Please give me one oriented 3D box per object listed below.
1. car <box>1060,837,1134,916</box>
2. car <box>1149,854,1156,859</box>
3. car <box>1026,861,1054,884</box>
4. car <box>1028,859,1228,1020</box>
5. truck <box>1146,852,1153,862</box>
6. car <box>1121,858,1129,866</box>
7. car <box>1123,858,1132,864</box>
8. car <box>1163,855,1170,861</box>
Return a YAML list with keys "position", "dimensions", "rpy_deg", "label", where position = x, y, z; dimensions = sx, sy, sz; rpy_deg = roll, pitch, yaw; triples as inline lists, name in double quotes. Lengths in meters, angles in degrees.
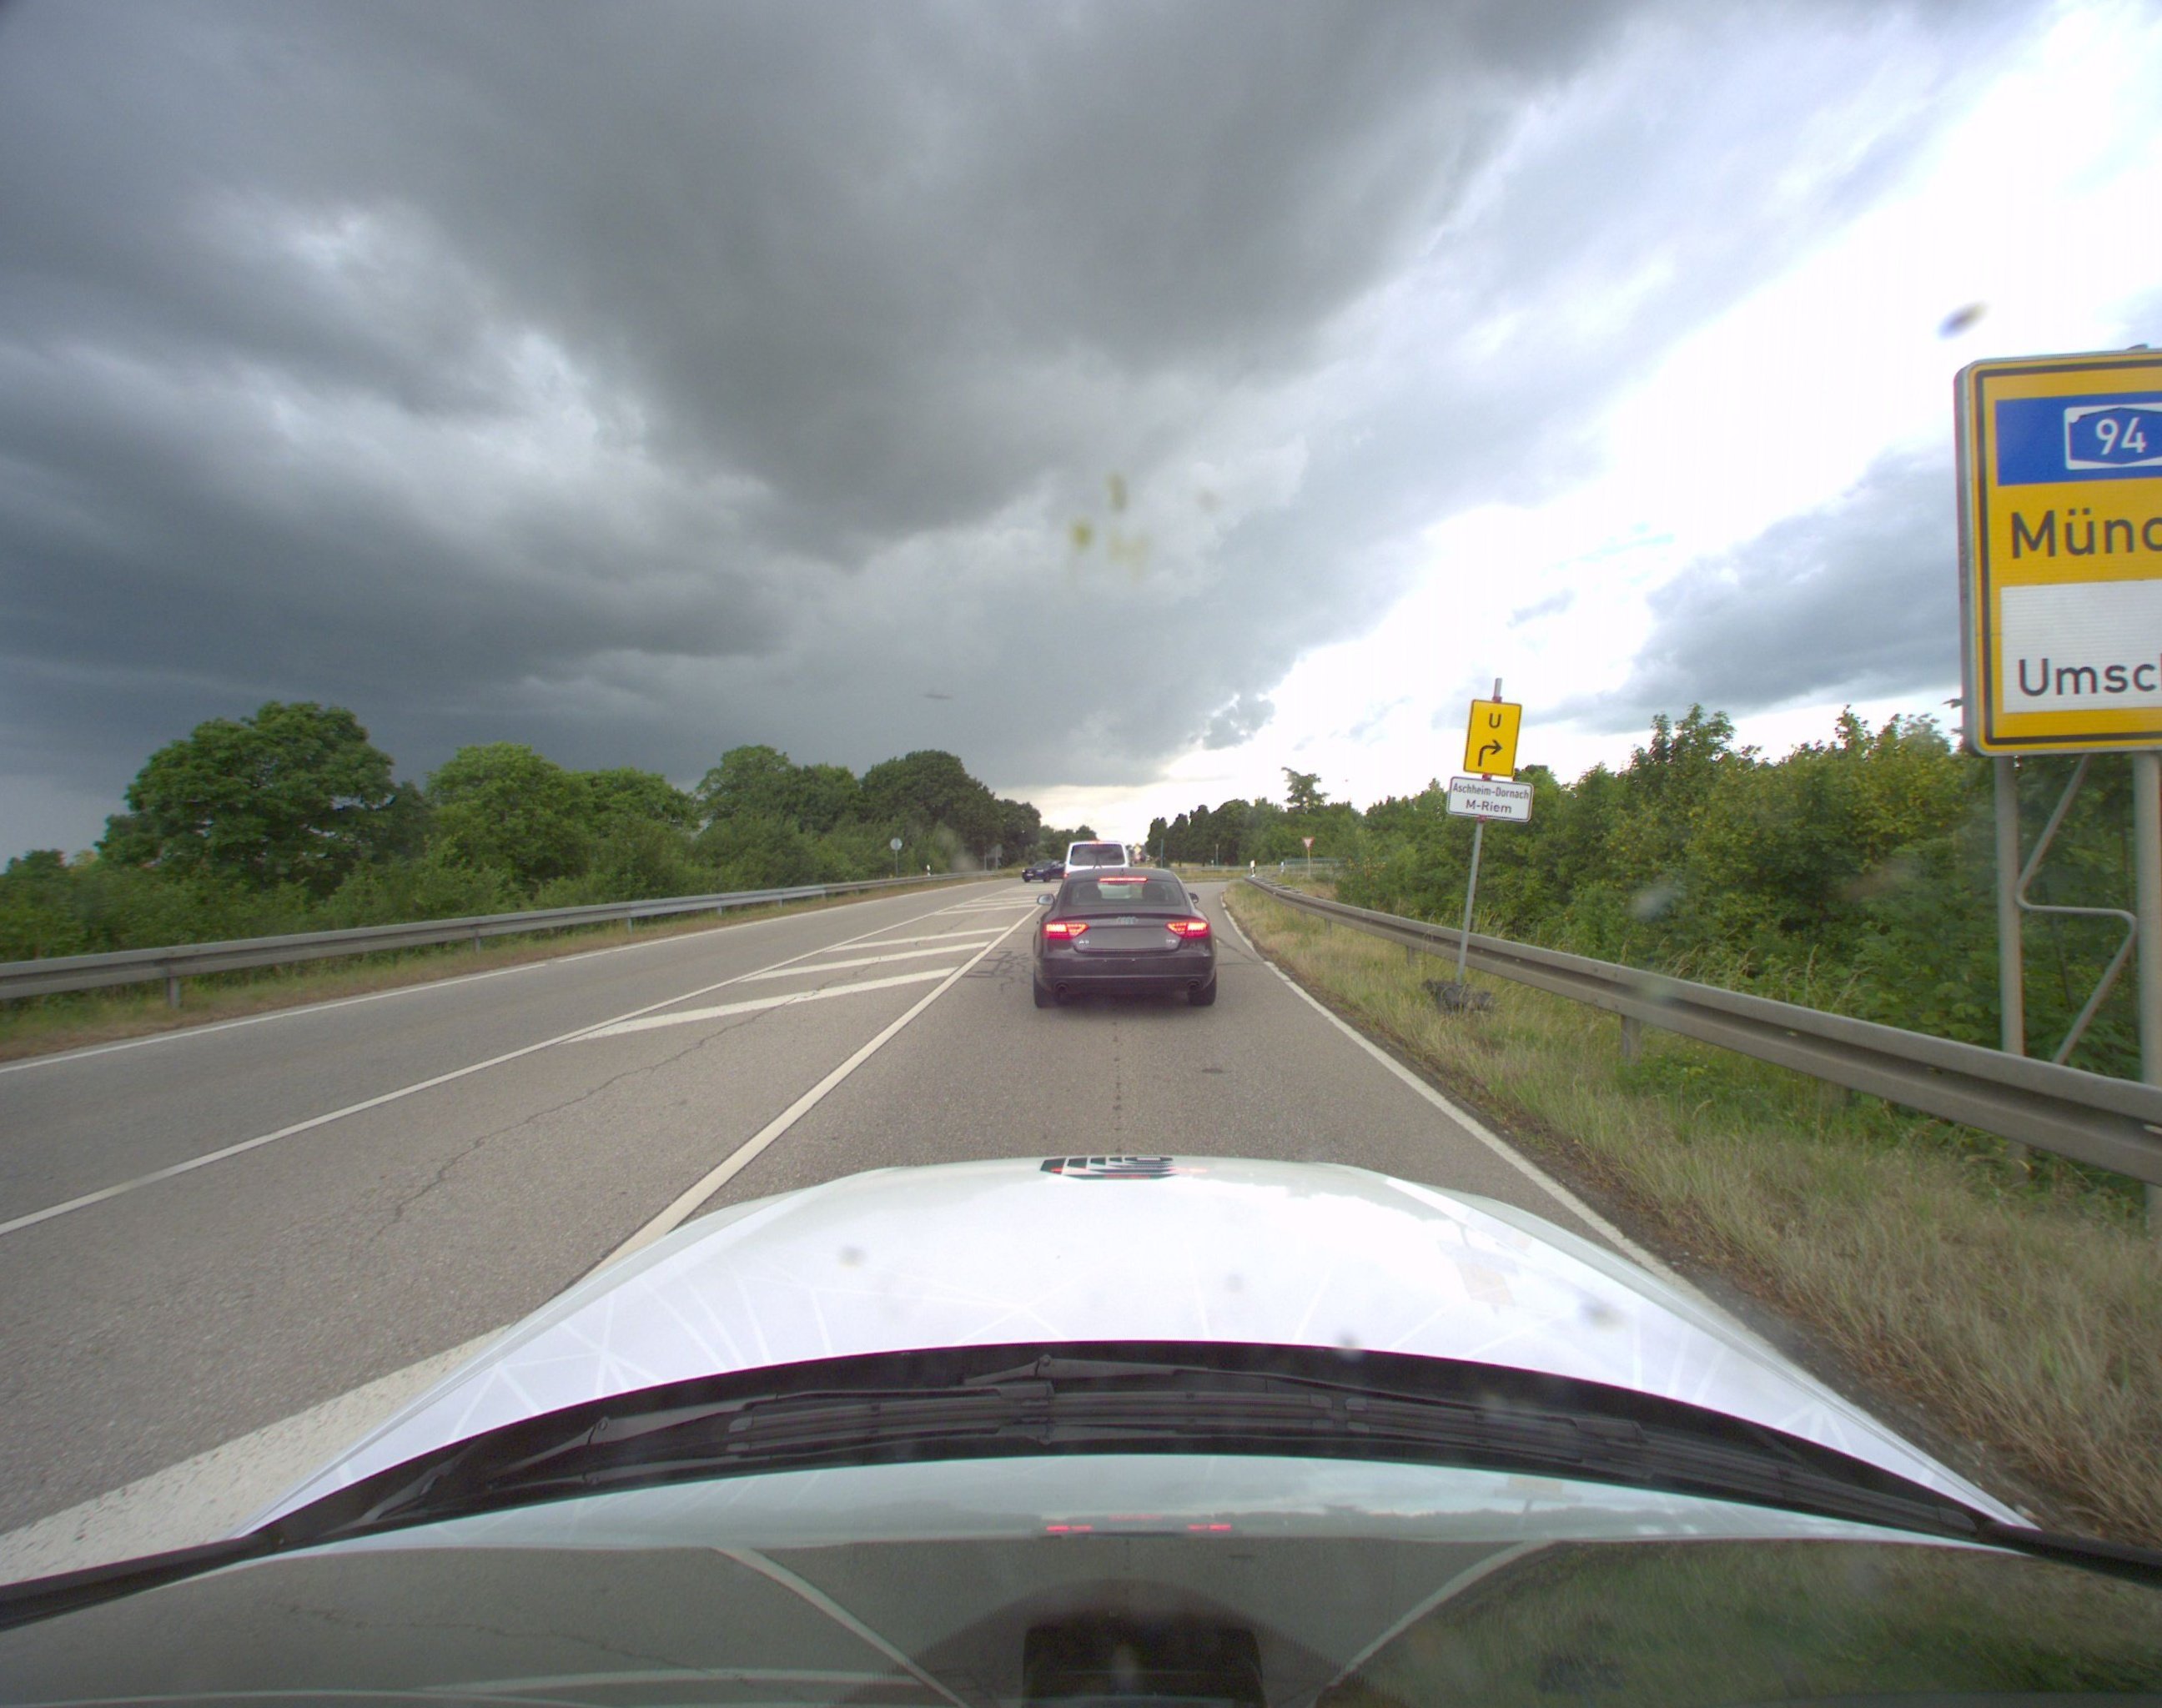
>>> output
- position: [0.432, 0.577, 23.062]
  dimensions: [1.904, 2.013, 4.000]
  rpy_deg: [0, 0, 1]
  label: "car"
- position: [21.611, 0.713, 247.486]
  dimensions: [1.985, 1.692, 4.004]
  rpy_deg: [0, 0, 3]
  label: "car"
- position: [-2.910, 1.260, 58.147]
  dimensions: [1.704, 1.518, 4.210]
  rpy_deg: [0, 0, 1]
  label: "car"
- position: [0.434, 0.772, 8.953]
  dimensions: [1.774, 1.398, 3.336]
  rpy_deg: [-1, 0, 0]
  label: "car"
- position: [19.202, 0.798, 229.330]
  dimensions: [1.985, 2.918, 5.799]
  rpy_deg: [0, 0, 4]
  label: "truck"
- position: [10.913, 1.945, 203.152]
  dimensions: [1.985, 2.013, 4.003]
  rpy_deg: [0, 0, 3]
  label: "car"
- position: [12.666, 1.781, 220.580]
  dimensions: [2.198, 1.582, 4.379]
  rpy_deg: [0, 0, 1]
  label: "car"
- position: [25.200, 1.131, 240.646]
  dimensions: [1.865, 1.692, 4.008]
  rpy_deg: [0, 0, 7]
  label: "car"
